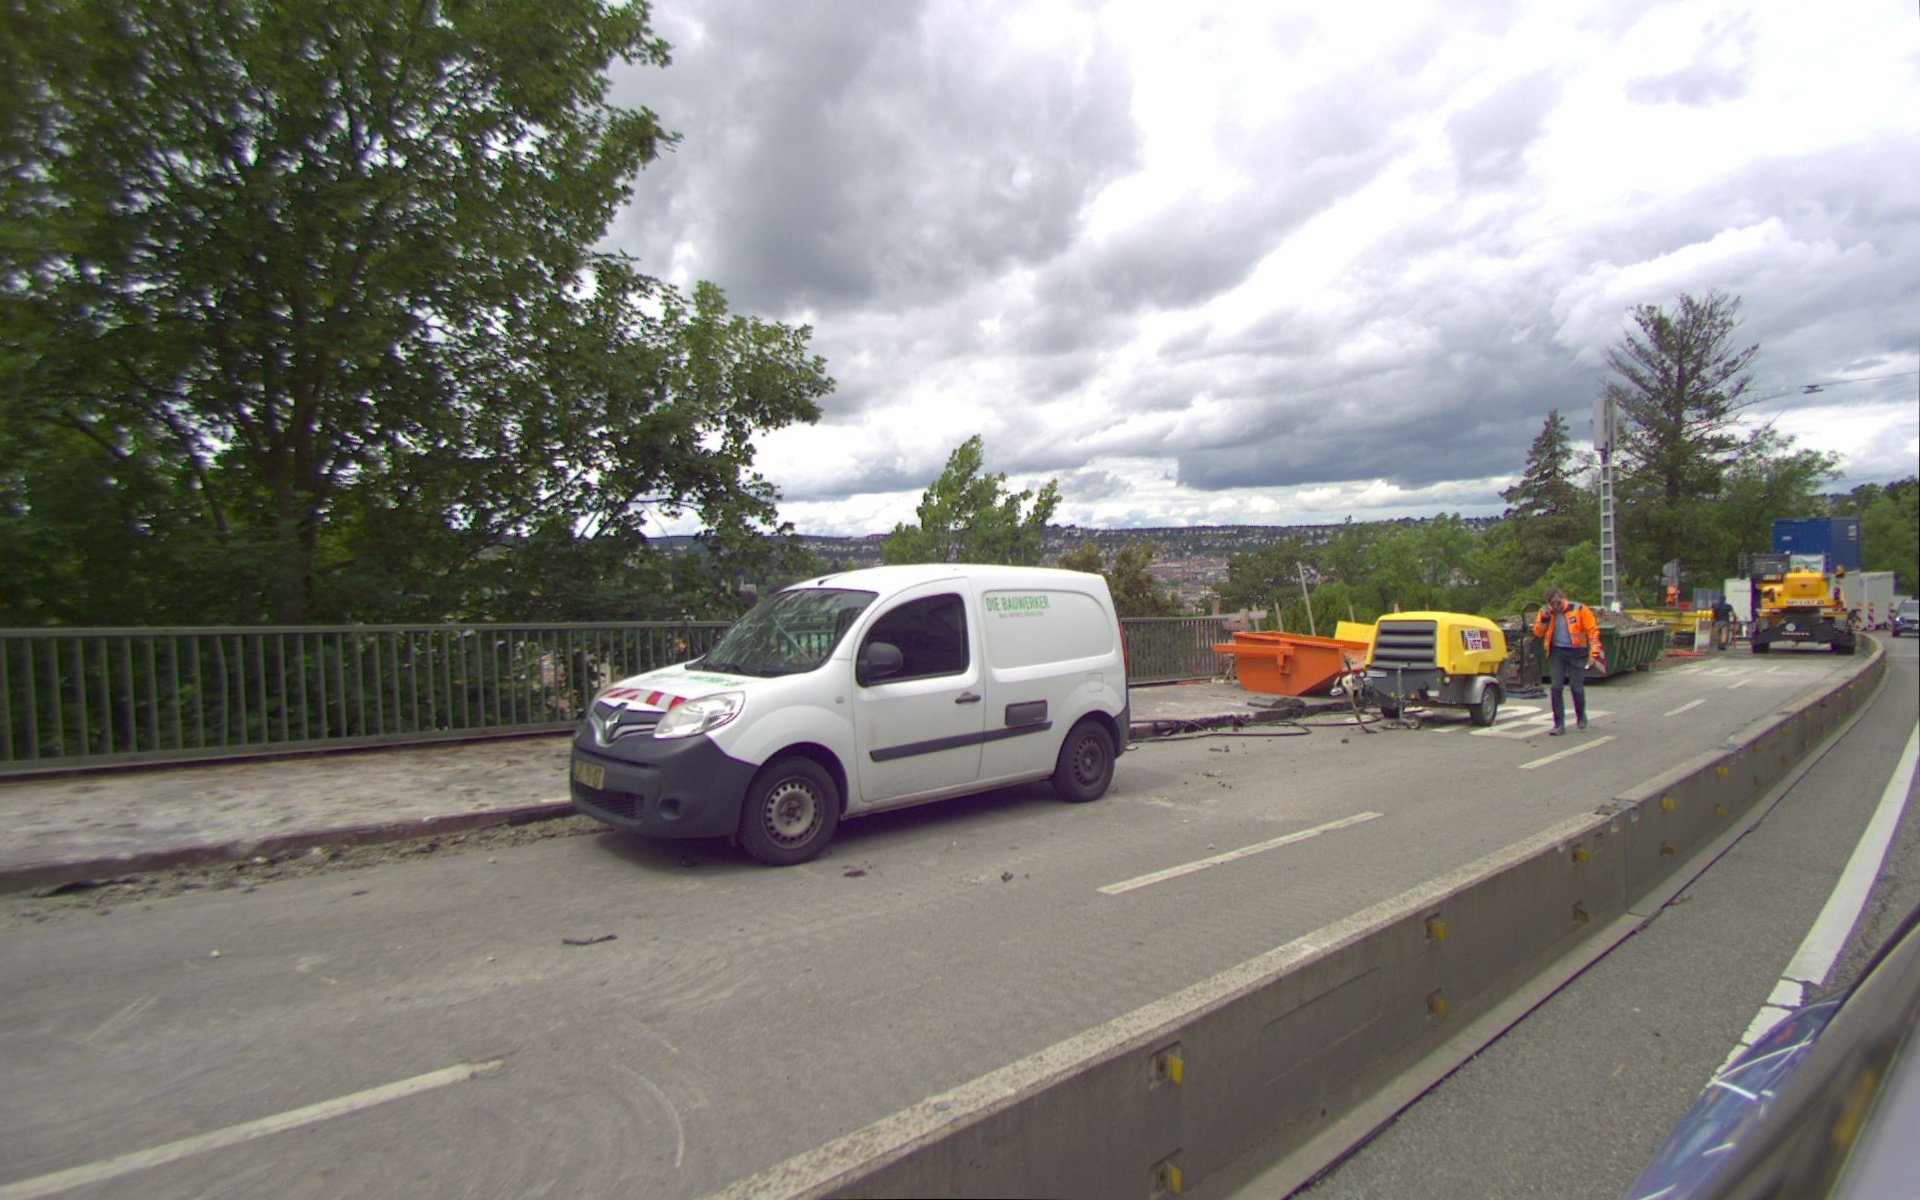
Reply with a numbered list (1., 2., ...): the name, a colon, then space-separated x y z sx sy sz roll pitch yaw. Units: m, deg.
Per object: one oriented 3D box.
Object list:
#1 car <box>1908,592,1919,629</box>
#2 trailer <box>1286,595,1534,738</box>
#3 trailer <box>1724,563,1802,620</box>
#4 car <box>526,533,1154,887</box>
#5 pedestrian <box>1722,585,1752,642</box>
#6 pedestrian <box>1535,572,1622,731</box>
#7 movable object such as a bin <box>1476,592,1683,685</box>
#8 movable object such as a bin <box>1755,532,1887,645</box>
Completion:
1. car: 42.912 0.468 44.247 3.932 1.528 1.797 -1 3 -42
2. trailer: 5.511 0.694 12.217 3.569 1.494 1.291 0 0 -40
3. trailer: 38.751 -0.442 48.785 5.032 2.581 2.110 0 2 -43
4. car: -0.635 0.554 7.247 4.195 1.802 1.835 0 0 -42
5. pedestrian: 24.953 0.430 32.511 0.686 1.818 0.533 0 -1 32
6. pedestrian: 7.001 0.559 11.453 0.645 1.723 0.836 -2 -2 44
7. movable object such as a bin: 12.837 0.639 20.681 2.372 1.581 6.991 -1 0 42
8. movable object such as a bin: 26.754 -0.315 31.615 2.807 3.110 7.710 -1 -1 40
